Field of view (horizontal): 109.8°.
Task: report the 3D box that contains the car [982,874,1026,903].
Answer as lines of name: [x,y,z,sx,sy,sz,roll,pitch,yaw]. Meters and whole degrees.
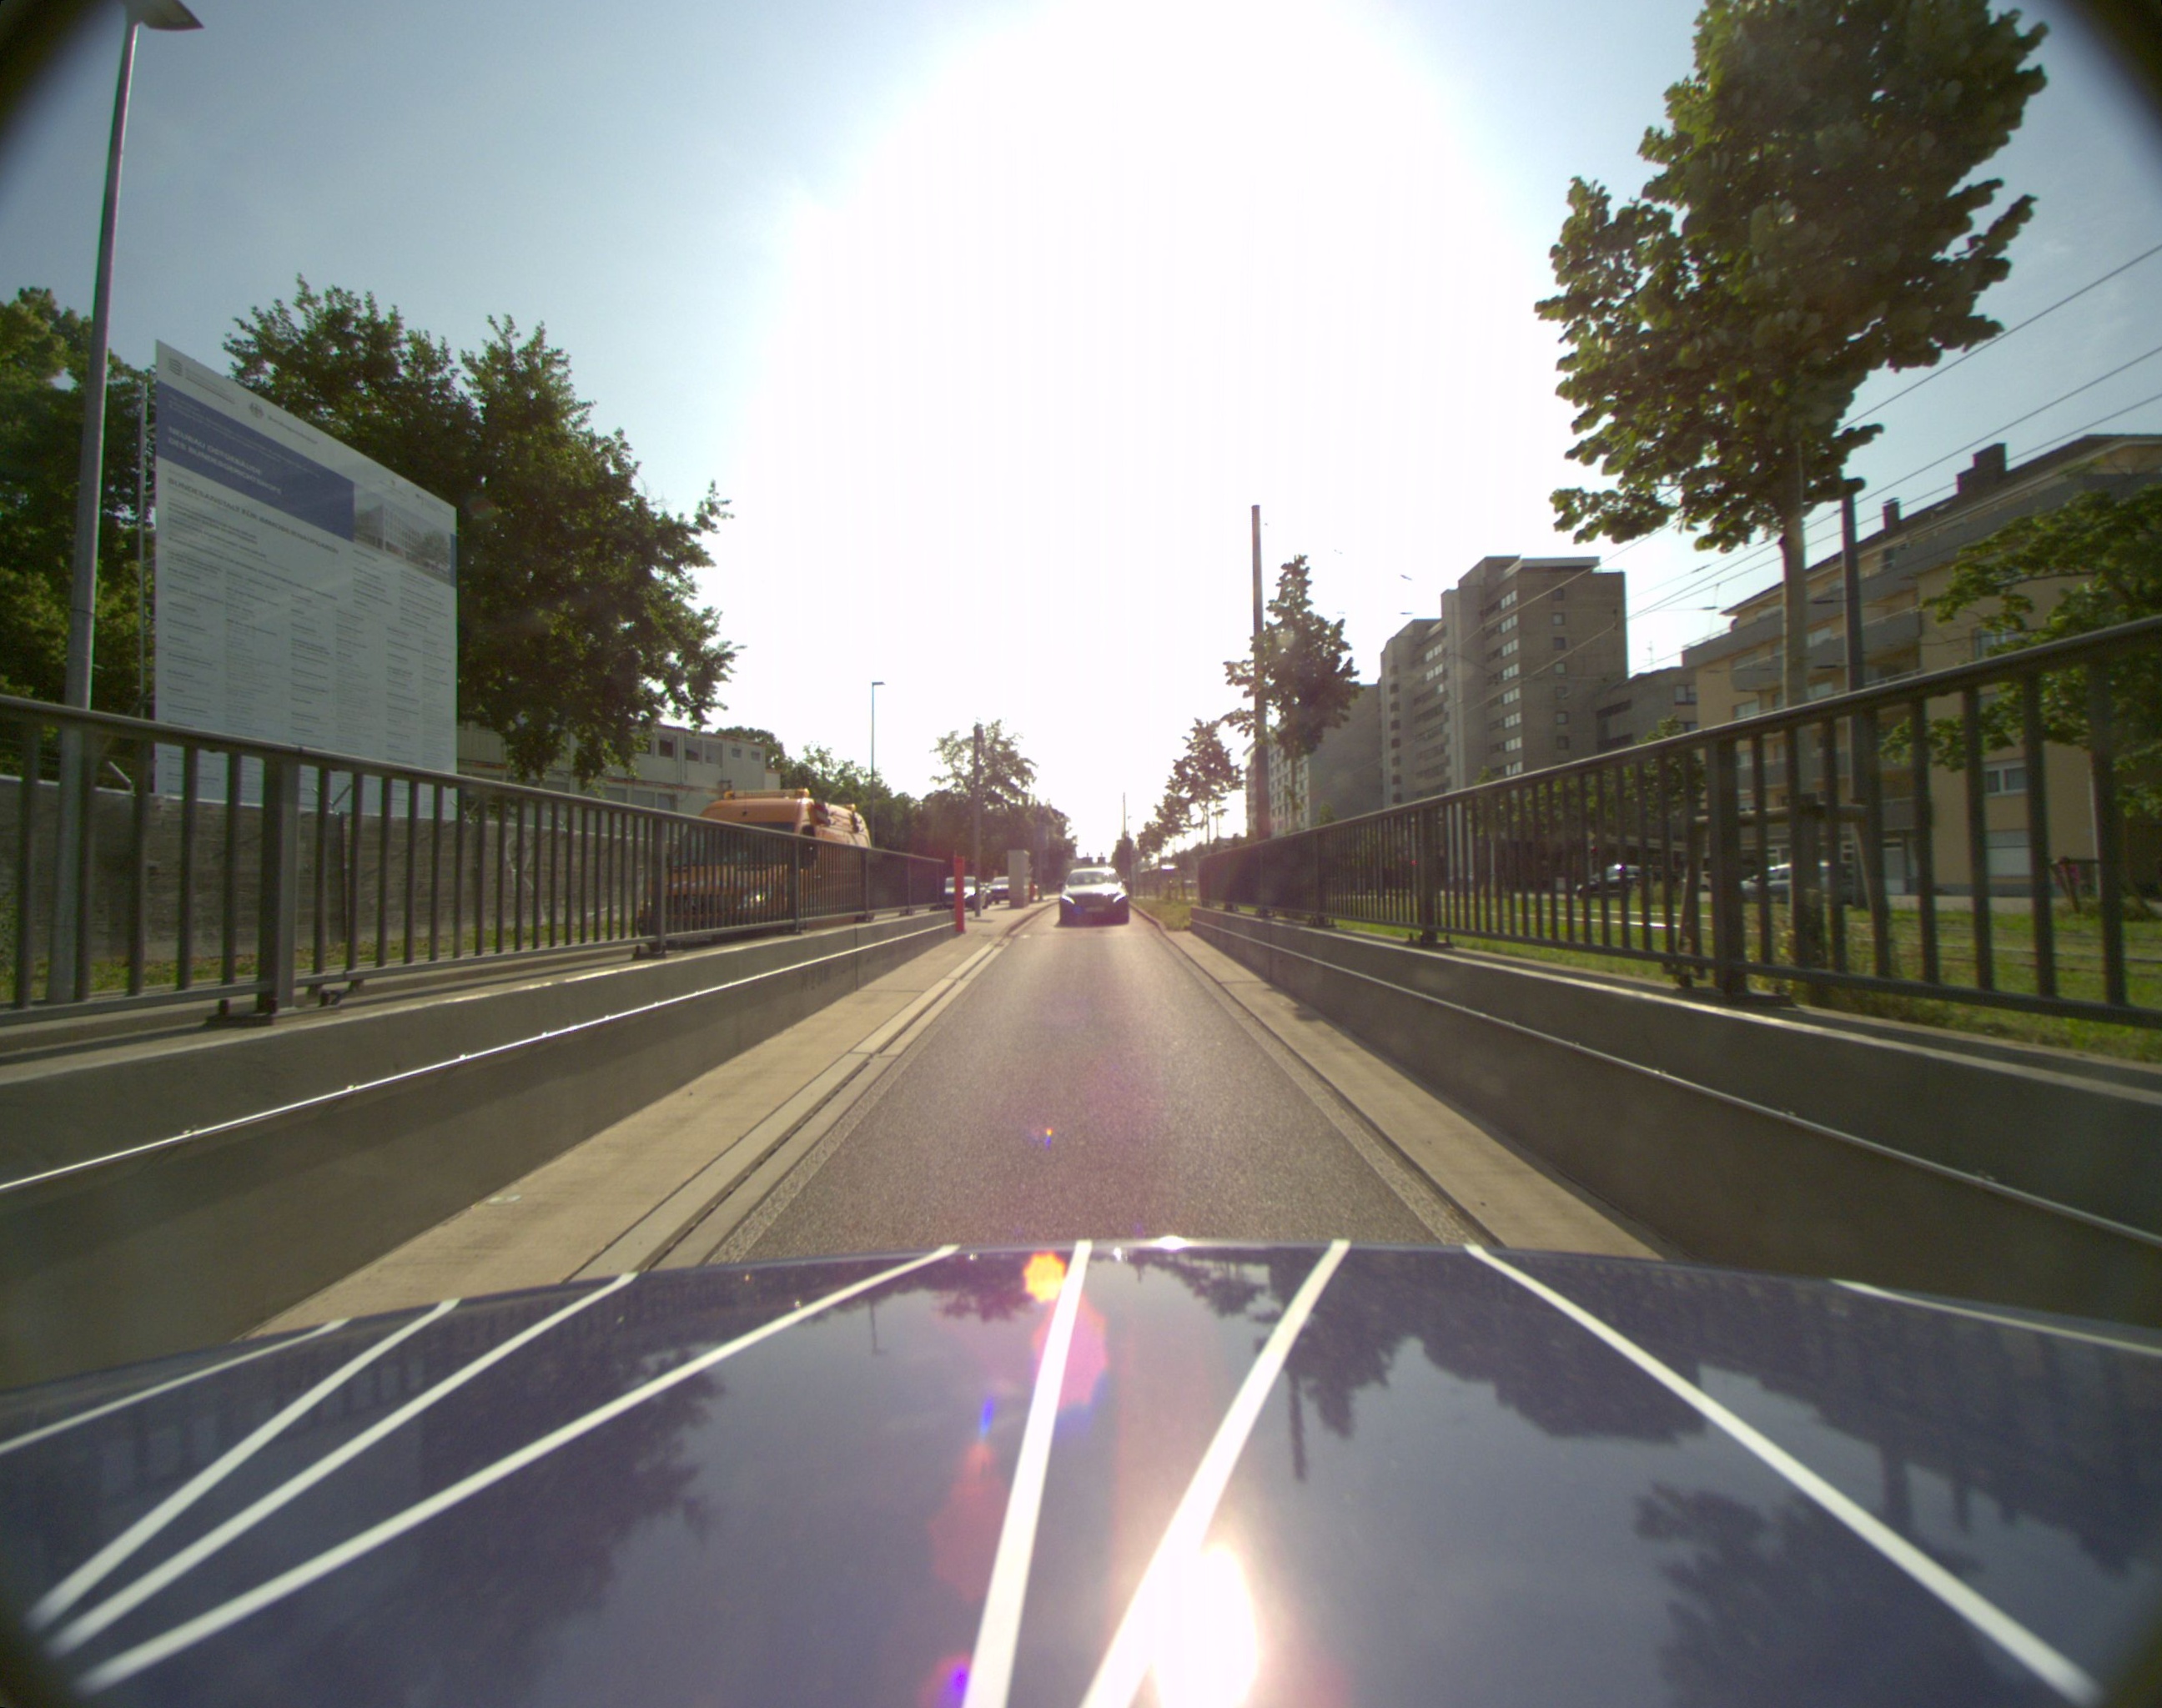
car: [-4.507,2.035,45.034,1.897,1.561,4.252,-3,-2,2]

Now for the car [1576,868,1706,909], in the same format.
car: [22.577,1.360,30.888,1.999,1.503,4.399,-1,-2,0]

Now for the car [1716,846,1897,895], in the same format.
car: [25.460,0.602,26.941,1.999,1.567,4.529,-1,-2,-1]

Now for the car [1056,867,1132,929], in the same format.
car: [0.405,1.097,20.076,1.759,1.436,4.620,-1,-2,2]

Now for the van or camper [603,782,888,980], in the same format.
van or camper: [-5.126,0.424,12.887,1.991,2.457,6.062,-3,-1,0]

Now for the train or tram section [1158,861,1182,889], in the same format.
train or tram section: [11.152,2.638,95.553,2.500,3.408,6.673,-1,-2,3]

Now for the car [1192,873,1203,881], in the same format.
car: [21.598,4.274,141.028,1.811,1.471,4.002,-1,-2,4]

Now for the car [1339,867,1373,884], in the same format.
car: [32.662,2.534,90.123,4.119,1.956,1.875,0,-2,-38]
